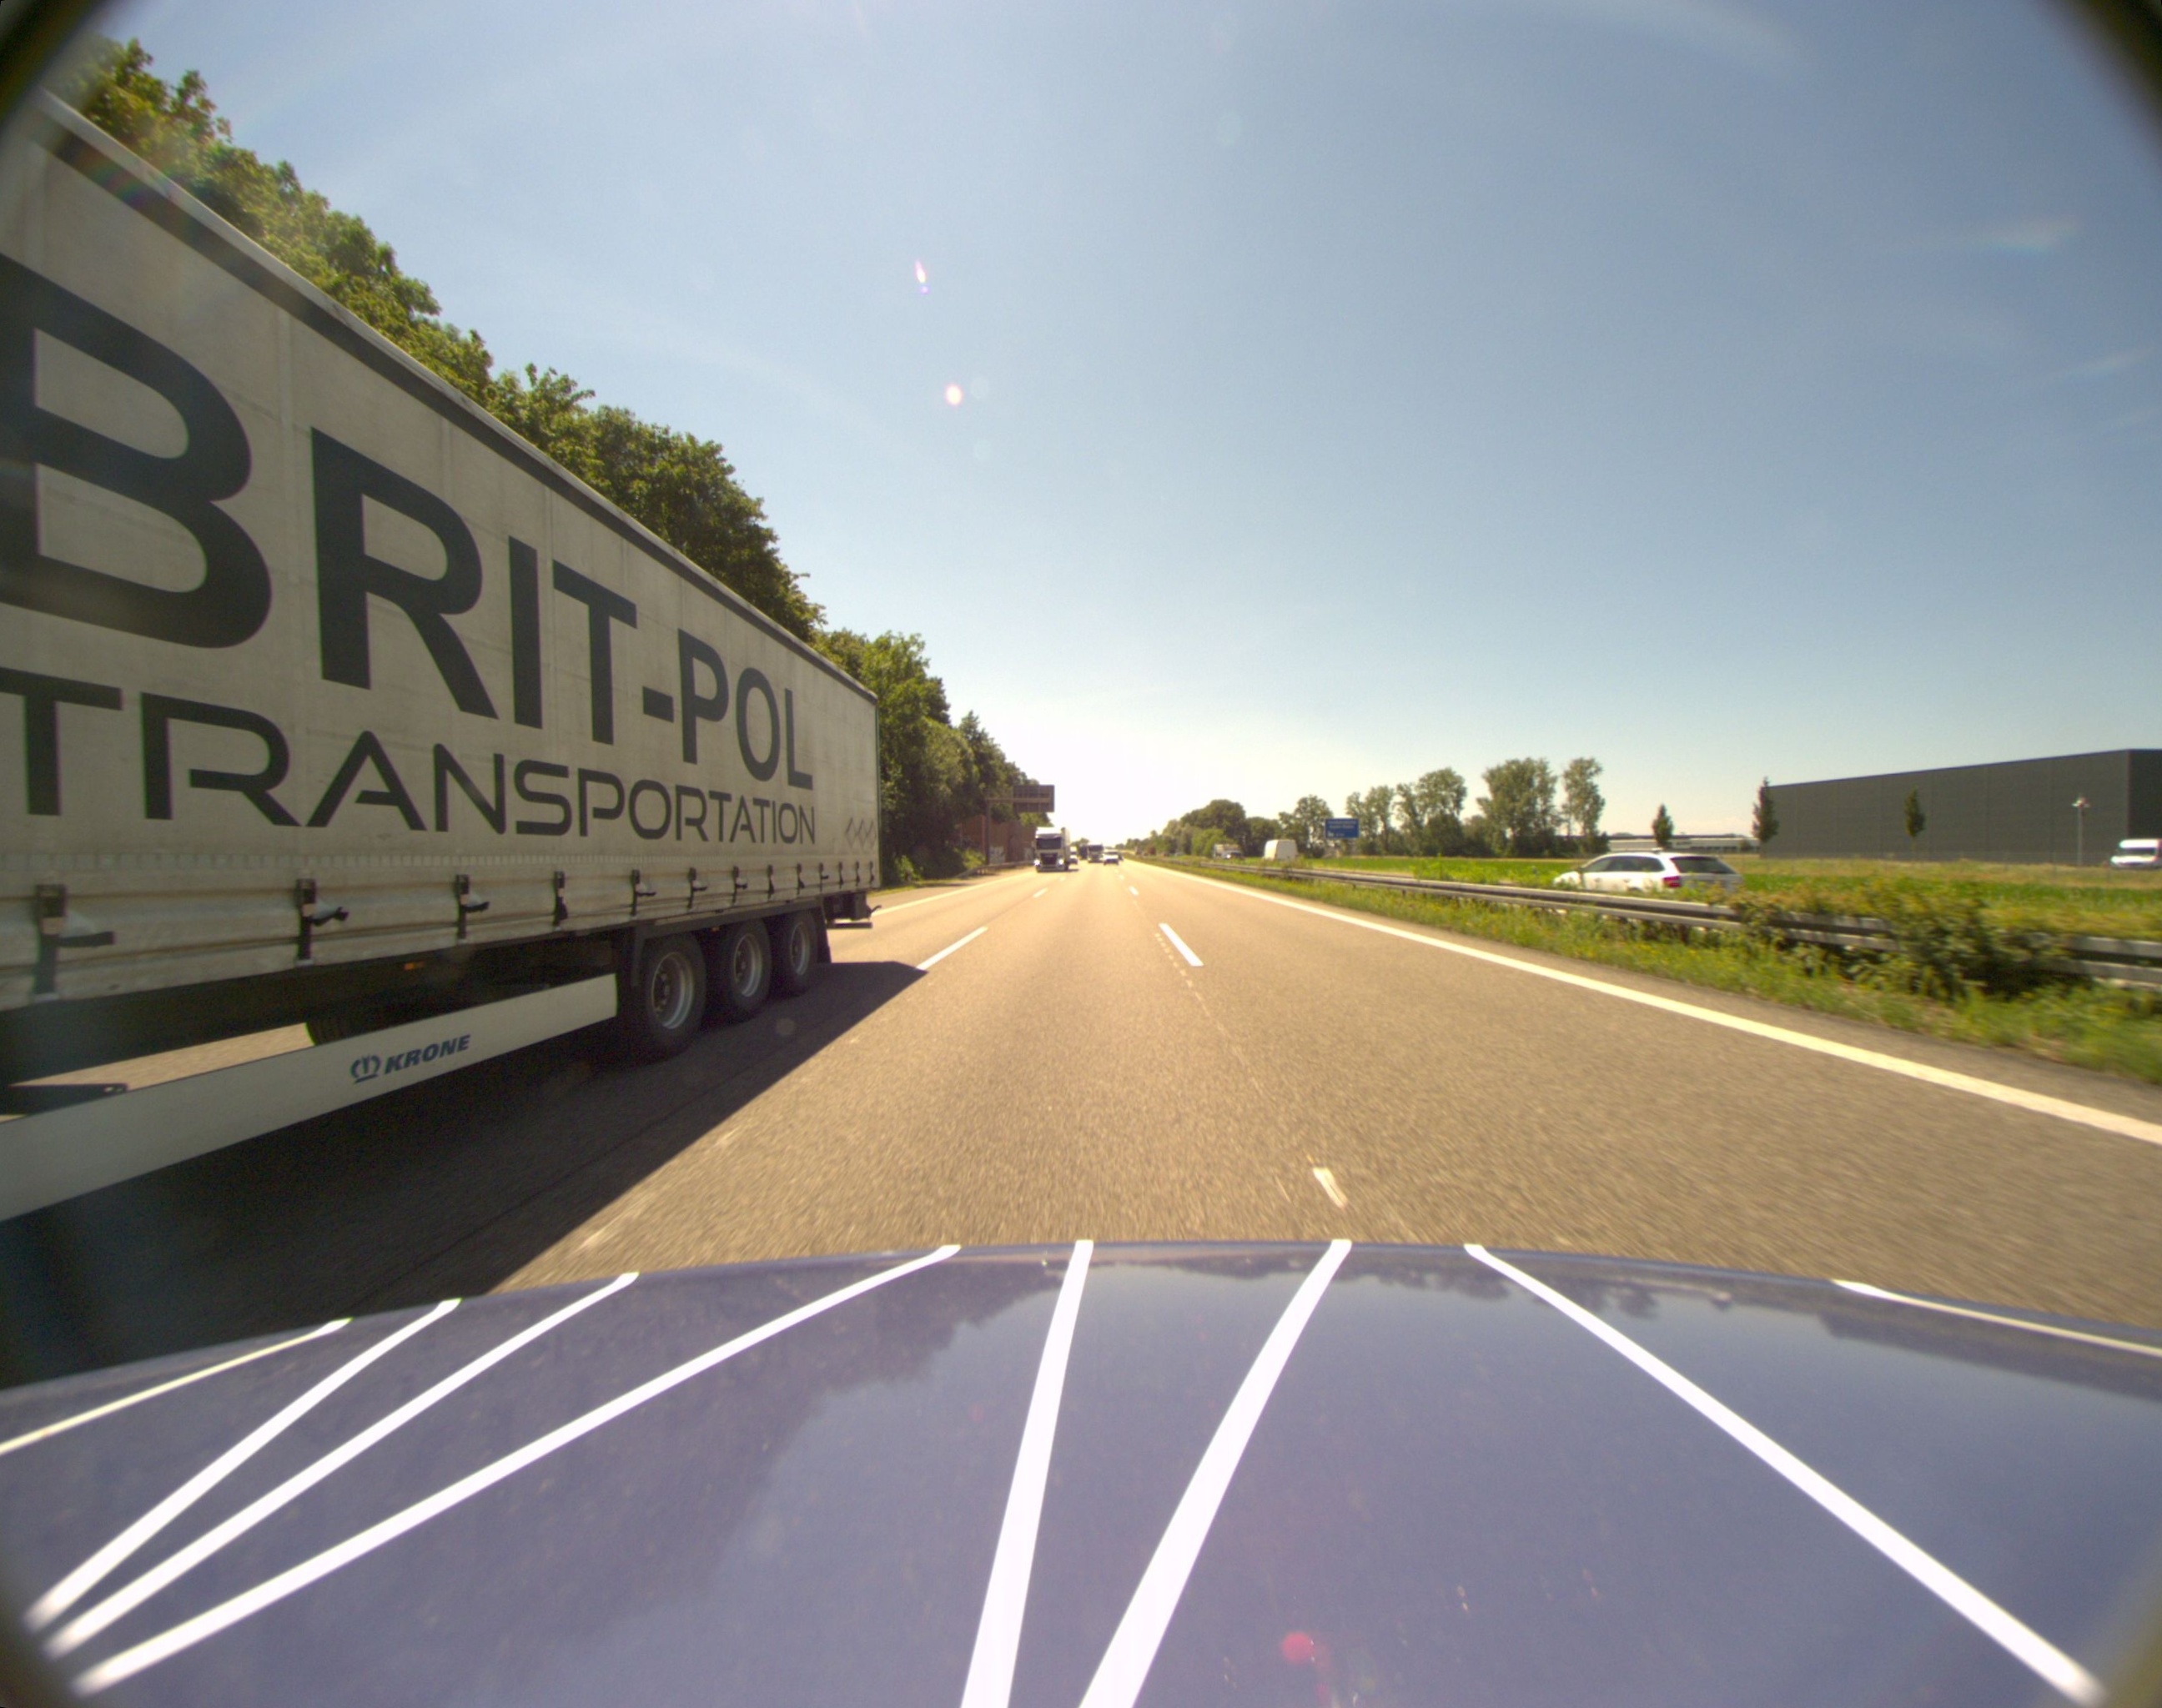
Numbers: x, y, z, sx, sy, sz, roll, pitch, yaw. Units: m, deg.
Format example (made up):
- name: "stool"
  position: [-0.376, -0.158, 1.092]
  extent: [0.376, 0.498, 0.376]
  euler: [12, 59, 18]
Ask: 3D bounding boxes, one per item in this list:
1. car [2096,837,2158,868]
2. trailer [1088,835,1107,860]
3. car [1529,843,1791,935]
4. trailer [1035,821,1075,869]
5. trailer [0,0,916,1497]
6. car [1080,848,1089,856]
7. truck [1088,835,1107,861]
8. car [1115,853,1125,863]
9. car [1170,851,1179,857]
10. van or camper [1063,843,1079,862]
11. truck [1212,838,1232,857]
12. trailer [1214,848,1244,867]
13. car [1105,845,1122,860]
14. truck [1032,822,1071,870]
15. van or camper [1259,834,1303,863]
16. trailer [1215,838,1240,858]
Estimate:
- name: "car"
  position: [75.857, -0.122, 55.096]
  extent: [5.618, 2.165, 2.104]
  euler: [0, 1, -31]
- name: "trailer"
  position: [2.830, -1.109, 129.395]
  extent: [2.927, 4.018, 7.316]
  euler: [-2, 1, 1]
- name: "car"
  position: [12.968, 0.671, 17.644]
  extent: [2.050, 1.796, 5.418]
  euler: [0, 0, 1]
- name: "trailer"
  position: [-2.377, -0.844, 75.496]
  extent: [3.001, 4.264, 13.418]
  euler: [-2, 0, 2]
- name: "trailer"
  position: [-4.493, -0.467, 4.825]
  extent: [3.114, 4.480, 14.895]
  euler: [-1, 1, 2]
- name: "car"
  position: [0.868, -0.508, 182.769]
  extent: [1.998, 2.002, 4.868]
  euler: [0, 0, 2]
- name: "truck"
  position: [2.702, -1.028, 124.284]
  extent: [2.896, 4.007, 6.869]
  euler: [-2, 1, 2]
- name: "car"
  position: [7.403, 0.757, 144.279]
  extent: [1.796, 1.696, 4.000]
  euler: [0, 0, 2]
- name: "car"
  position: [23.685, -0.021, 192.628]
  extent: [1.998, 1.630, 5.664]
  euler: [0, 0, 2]
- name: "van or camper"
  position: [-1.438, -0.249, 112.301]
  extent: [2.027, 2.622, 6.487]
  euler: [-2, 1, 1]
- name: "truck"
  position: [24.732, -1.120, 133.522]
  extent: [2.704, 3.232, 5.838]
  euler: [0, 1, 2]
- name: "trailer"
  position: [14.060, 0.320, 72.475]
  extent: [1.998, 1.748, 4.857]
  euler: [0, 0, 1]
- name: "car"
  position: [4.202, -0.245, 99.685]
  extent: [2.147, 1.810, 5.267]
  euler: [-1, 1, 2]
- name: "truck"
  position: [-2.597, -0.719, 68.349]
  extent: [3.010, 4.101, 5.252]
  euler: [-1, 1, 2]
- name: "van or camper"
  position: [18.339, -0.559, 70.125]
  extent: [2.428, 2.519, 6.175]
  euler: [1, 1, 1]
- name: "trailer"
  position: [24.515, -1.038, 127.429]
  extent: [2.682, 3.219, 9.258]
  euler: [-1, 1, 2]
